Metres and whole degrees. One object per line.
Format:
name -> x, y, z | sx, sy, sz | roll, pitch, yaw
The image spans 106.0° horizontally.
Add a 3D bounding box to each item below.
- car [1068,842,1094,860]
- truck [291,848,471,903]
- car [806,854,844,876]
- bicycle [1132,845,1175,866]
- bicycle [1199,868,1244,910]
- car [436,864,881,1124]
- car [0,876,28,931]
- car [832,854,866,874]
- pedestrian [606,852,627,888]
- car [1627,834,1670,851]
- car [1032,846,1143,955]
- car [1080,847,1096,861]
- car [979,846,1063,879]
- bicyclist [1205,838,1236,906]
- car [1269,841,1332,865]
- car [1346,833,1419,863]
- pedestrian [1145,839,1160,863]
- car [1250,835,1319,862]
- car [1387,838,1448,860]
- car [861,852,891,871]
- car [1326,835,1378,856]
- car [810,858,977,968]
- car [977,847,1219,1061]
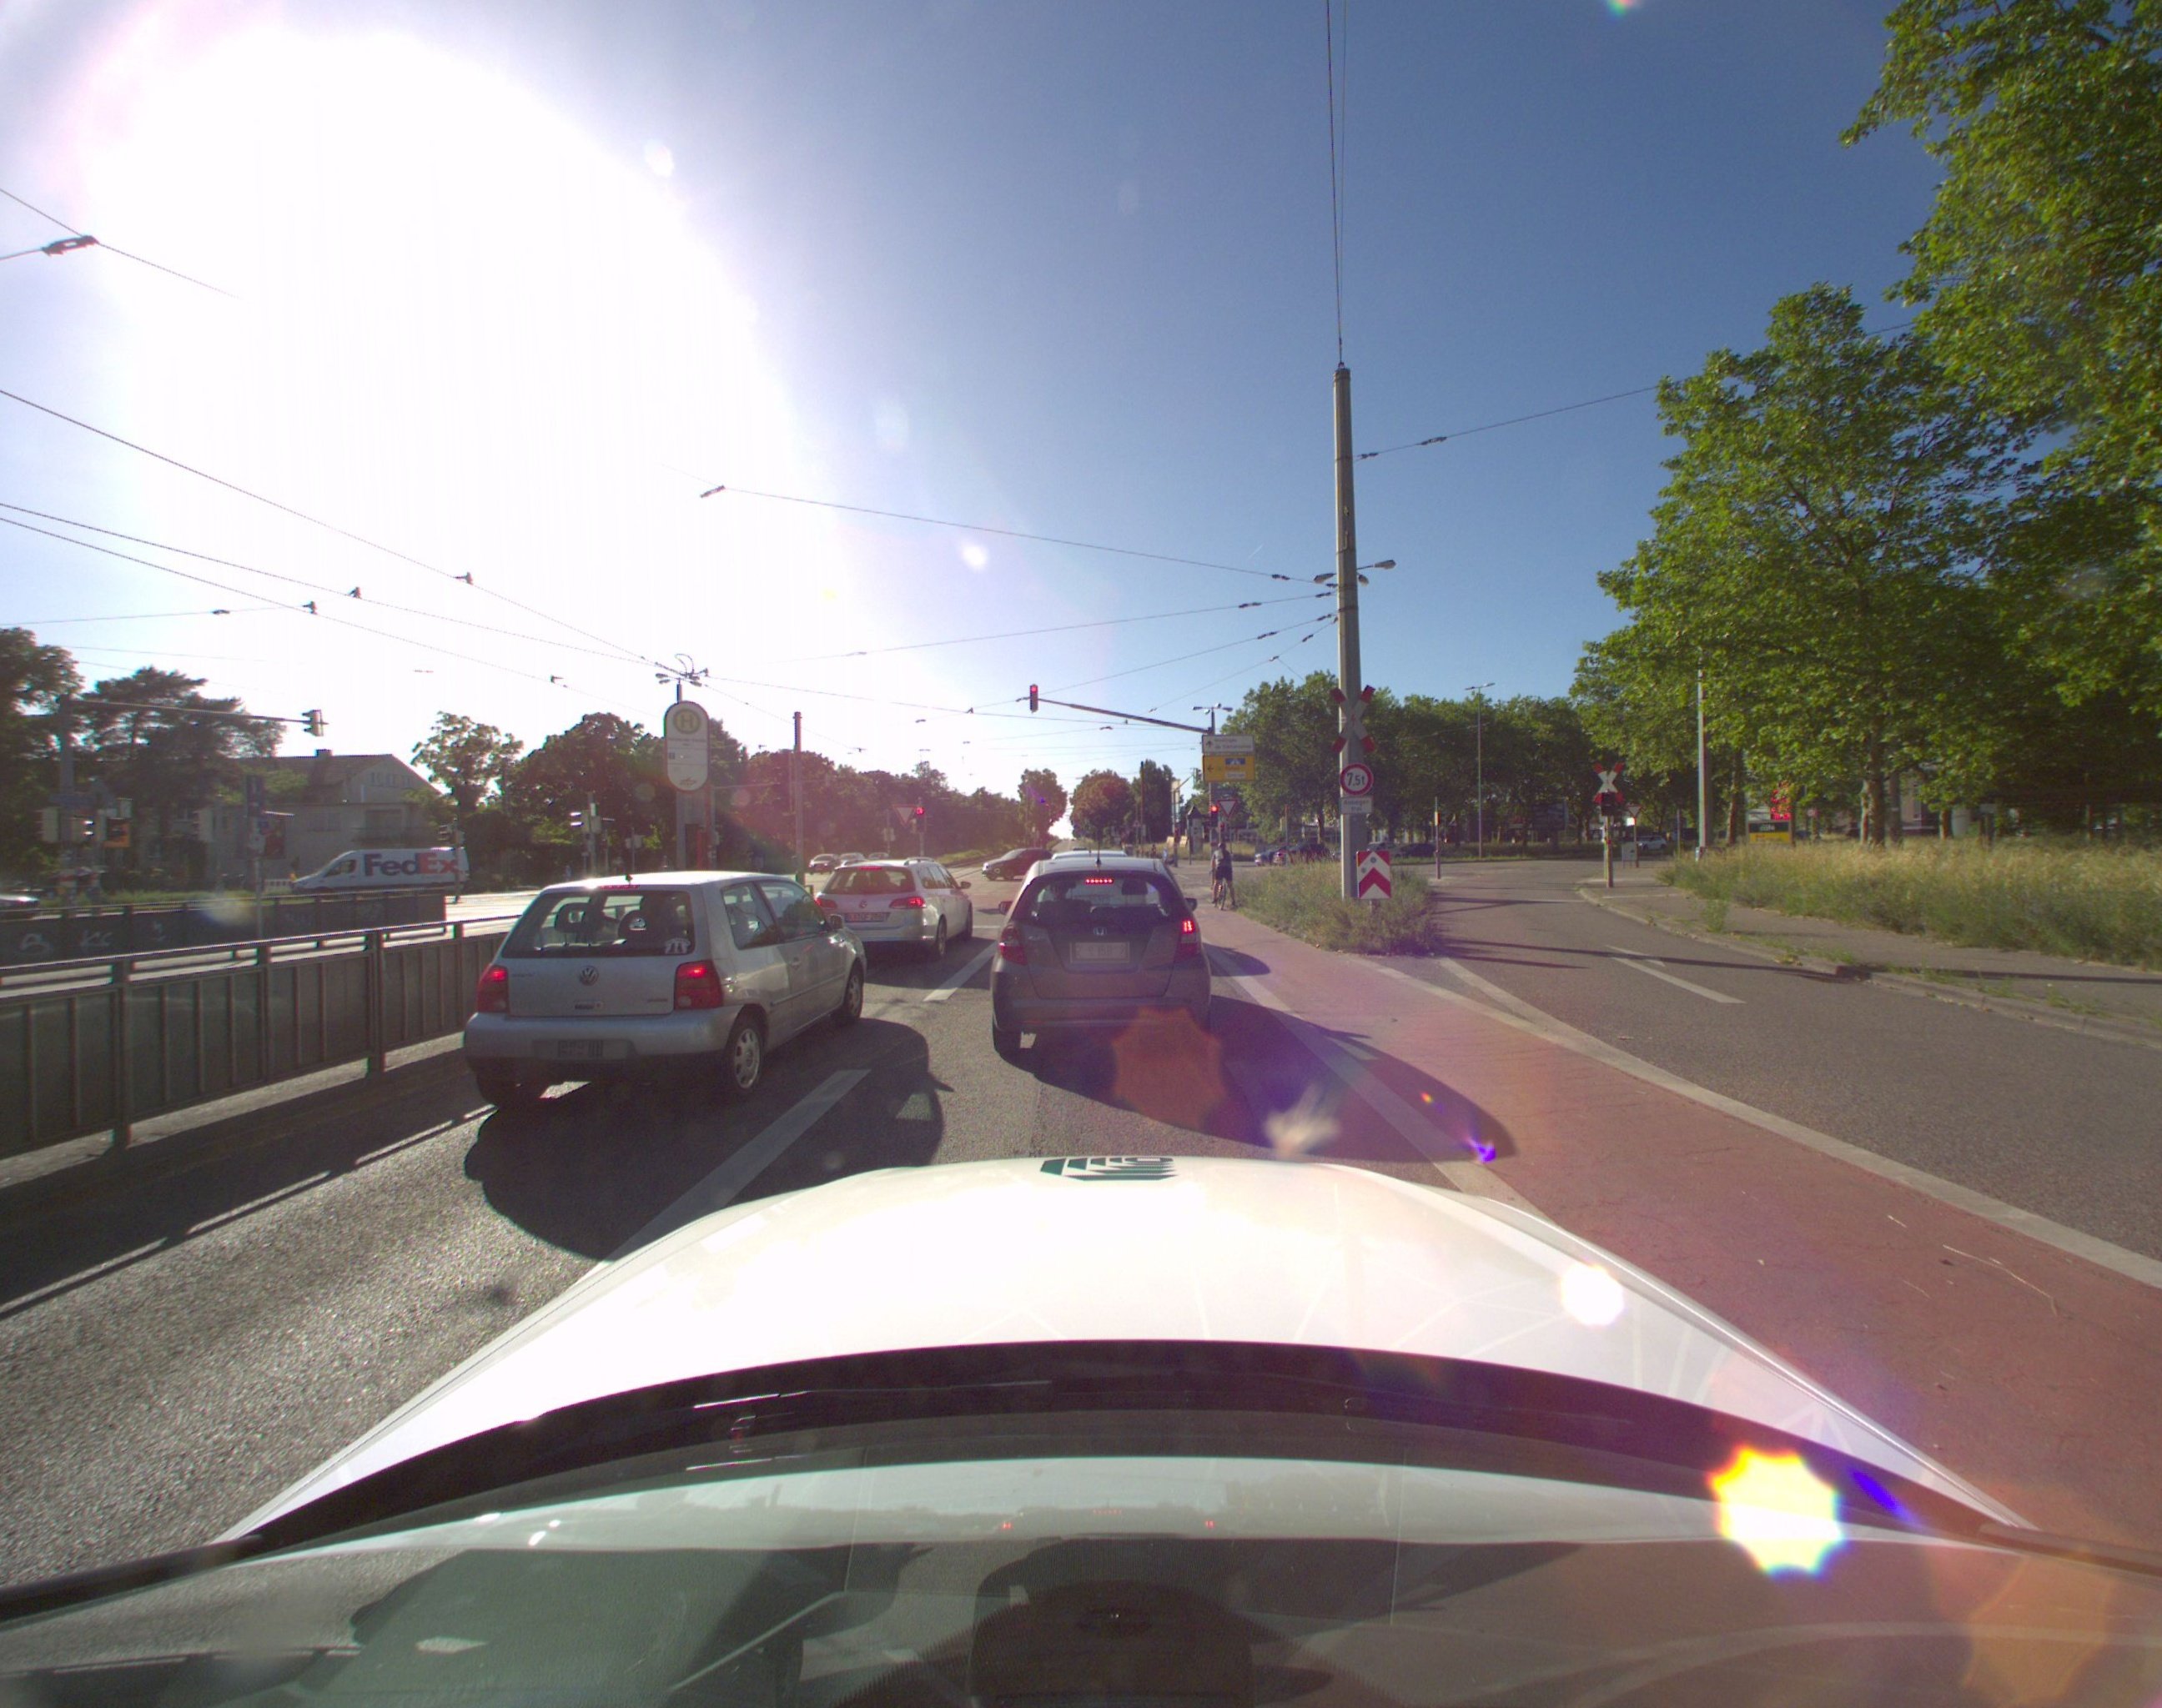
car -> 0.031, -0.269, 70.944 | 1.701, 1.478, 4.007 | -2, 0, 6
truck -> -36.239, 1.042, 42.410 | 1.974, 2.565, 6.866 | -1, 0, 40
car -> -19.017, 0.813, 60.701 | 1.829, 1.548, 3.993 | -2, 0, -5
bicycle -> 5.613, 0.119, 62.950 | 3.218, 1.574, 0.815 | -2, 0, -24
bicycle -> 3.632, 0.868, 21.298 | 0.719, 0.989, 2.876 | 0, 0, 1
car -> -2.828, 0.819, 6.331 | 1.613, 1.417, 3.352 | -2, 0, 1
car -> -32.026, 1.445, 21.493 | 4.844, 1.497, 1.771 | -2, 0, -25
car -> -18.915, 0.822, 66.494 | 1.829, 1.548, 4.277 | -2, 0, -5
pedestrian -> -26.533, 0.930, 46.547 | 0.748, 2.013, 0.788 | -2, 0, -11
car -> 54.018, -1.139, 77.513 | 4.007, 1.501, 1.580 | -2, 0, -25
car -> 0.146, 0.681, 14.128 | 1.605, 1.562, 4.289 | -1, 0, 1
car -> 0.729, 0.010, 87.714 | 1.519, 1.378, 3.672 | -2, 0, -3
car -> -3.074, 0.441, 41.947 | 3.997, 1.544, 1.576 | -2, 0, -32
bicyclist -> 3.632, 0.462, 21.221 | 0.663, 1.716, 0.948 | 0, -1, 1
car -> 15.017, -0.085, 55.788 | 4.002, 1.531, 1.594 | -2, 0, -22
car -> 21.956, -0.447, 59.245 | 4.906, 2.013, 1.986 | -2, 0, -22
pedestrian -> 5.547, -0.247, 62.939 | 0.856, 1.836, 0.784 | -2, 0, -24
car -> 15.028, -0.375, 60.080 | 4.705, 1.879, 1.986 | 0, -1, -22
car -> 26.885, -0.413, 65.047 | 4.526, 1.574, 1.681 | -2, 0, -21
car -> -18.781, 0.677, 74.750 | 1.991, 1.604, 4.745 | 0, 0, -6
car -> 20.928, -0.657, 62.881 | 3.757, 1.570, 1.480 | -2, 0, -21
car -> -2.778, 0.801, 12.978 | 1.613, 1.457, 4.086 | -1, 0, 1
car -> 0.108, 0.691, 7.488 | 1.663, 1.462, 3.585 | -1, 0, -1
